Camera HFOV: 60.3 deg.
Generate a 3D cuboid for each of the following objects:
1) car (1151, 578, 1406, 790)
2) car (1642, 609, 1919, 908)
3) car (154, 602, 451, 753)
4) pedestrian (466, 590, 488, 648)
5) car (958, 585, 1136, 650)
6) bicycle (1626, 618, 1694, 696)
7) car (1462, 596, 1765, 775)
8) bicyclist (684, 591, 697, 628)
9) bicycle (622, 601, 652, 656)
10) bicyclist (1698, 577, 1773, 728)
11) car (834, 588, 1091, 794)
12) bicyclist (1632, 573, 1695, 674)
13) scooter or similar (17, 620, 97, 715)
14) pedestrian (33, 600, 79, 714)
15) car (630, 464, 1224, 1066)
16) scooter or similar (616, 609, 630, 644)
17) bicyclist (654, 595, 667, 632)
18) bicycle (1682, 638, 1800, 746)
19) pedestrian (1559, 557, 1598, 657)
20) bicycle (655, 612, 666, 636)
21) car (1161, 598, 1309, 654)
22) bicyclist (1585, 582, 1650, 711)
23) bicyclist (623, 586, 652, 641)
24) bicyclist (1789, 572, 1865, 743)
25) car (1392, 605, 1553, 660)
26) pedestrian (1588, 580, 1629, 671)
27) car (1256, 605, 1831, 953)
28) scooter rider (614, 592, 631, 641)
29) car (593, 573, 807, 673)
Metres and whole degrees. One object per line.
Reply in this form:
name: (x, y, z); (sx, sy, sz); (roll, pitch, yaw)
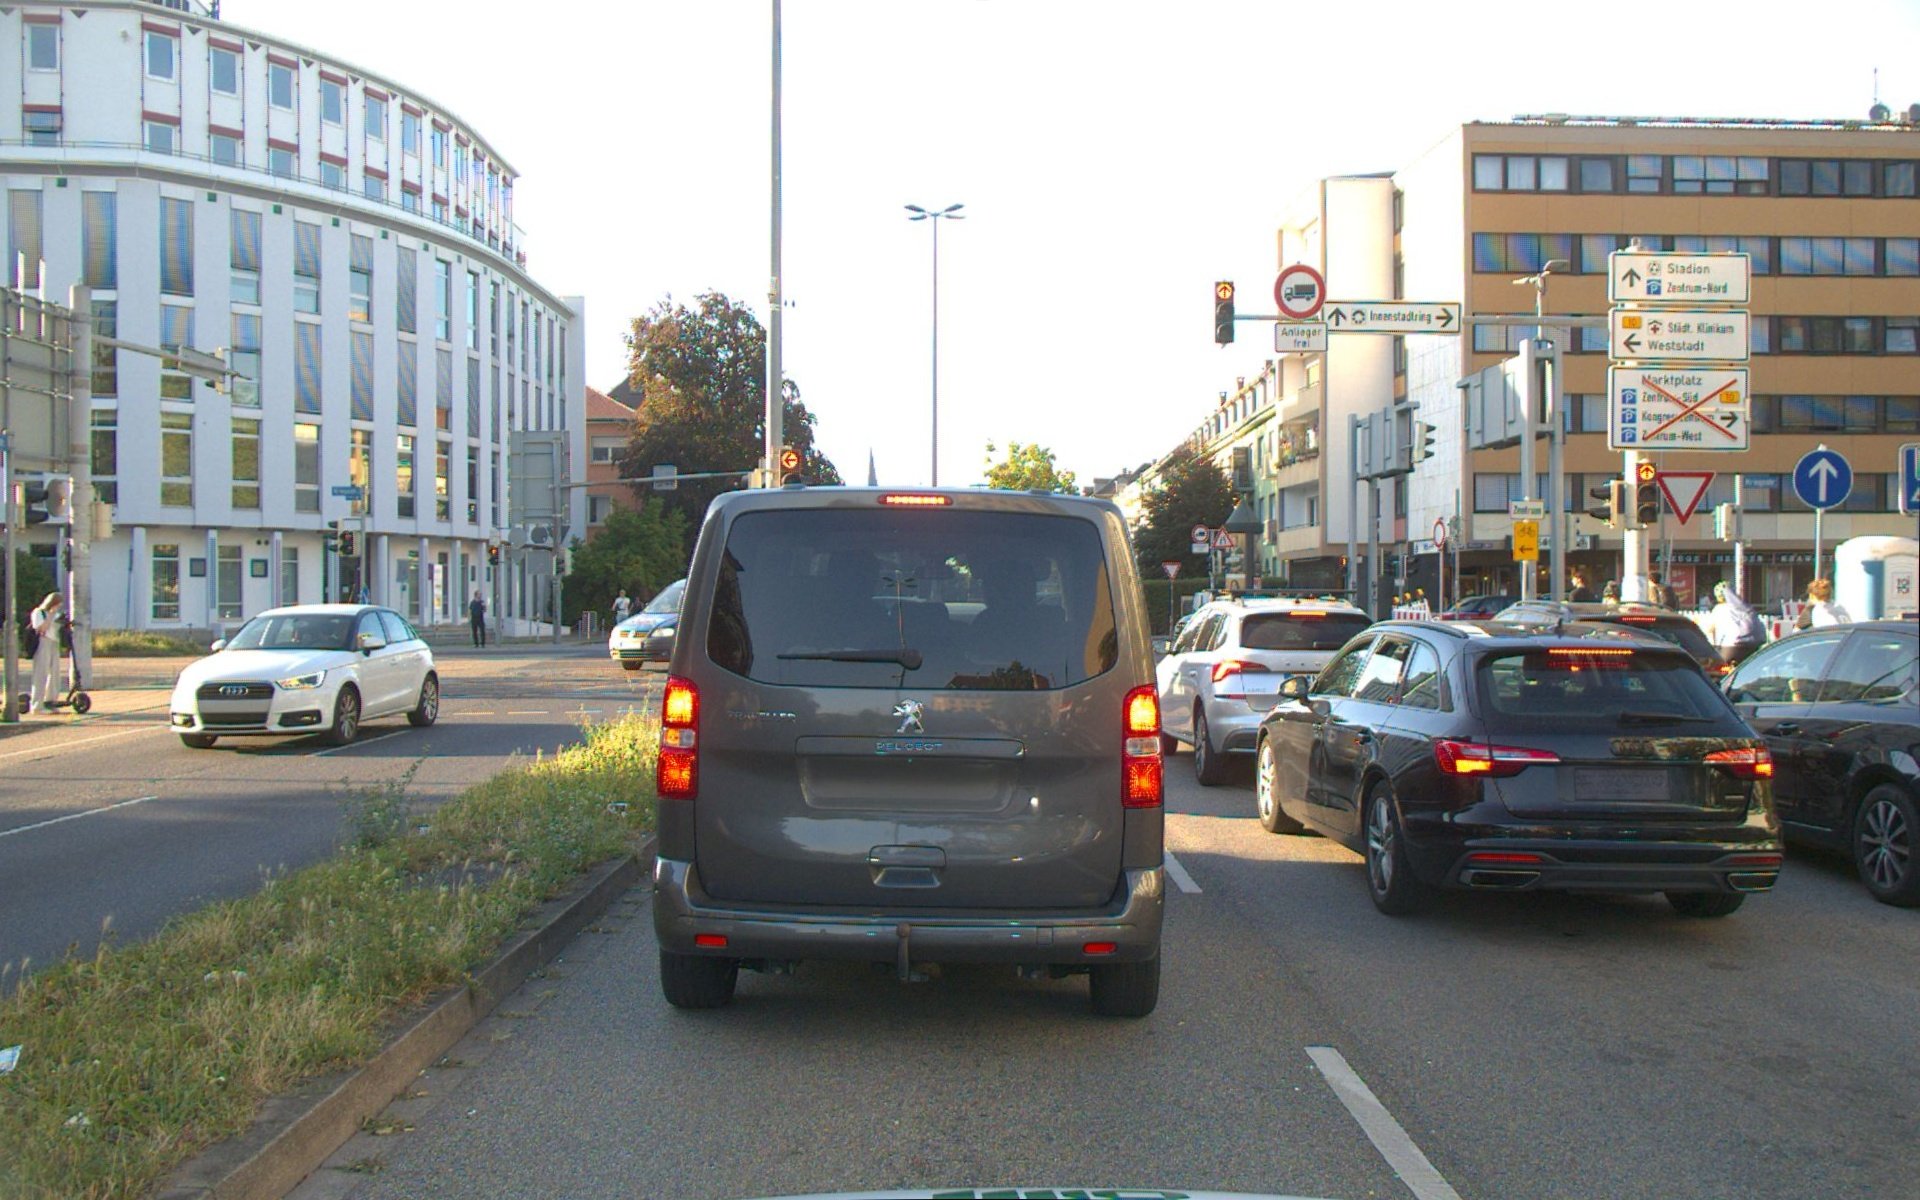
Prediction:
car: (2.725, 0.656, 14.906); (1.498, 1.641, 3.744); (1, 0, -1)
car: (5.618, 0.821, 9.735); (1.600, 1.474, 3.744); (1, 0, -1)
car: (-7.013, 0.762, 18.053); (1.656, 1.412, 3.687); (-1, 0, 2)
pedestrian: (-14.803, 0.578, 50.676); (0.615, 1.752, 0.669); (0, 0, -15)
car: (2.123, 0.389, 39.658); (4.196, 1.467, 1.681); (-1, 0, -37)
bicycle: (11.483, 0.920, 27.163); (0.365, 1.181, 1.498); (1, 1, -4)
car: (5.937, 0.709, 15.409); (1.474, 1.474, 3.304); (0, 0, -1)
bicyclist: (-11.563, 0.413, 70.973); (0.467, 1.582, 0.509); (0, 0, -1)
bicycle: (-12.359, 1.077, 63.317); (0.700, 2.049, 2.563); (0, 0, -1)
bicyclist: (8.140, 0.540, 17.385); (0.432, 1.552, 0.725); (0, 0, -1)
car: (-0.012, 0.687, 14.612); (1.953, 1.557, 3.999); (0, 0, -1)
bicyclist: (11.497, 0.371, 27.044); (0.606, 1.616, 0.813); (1, 1, -5)
scooter or similar: (-12.179, 0.905, 22.323); (0.877, 1.255, 0.370); (0, 0, -12)
pedestrian: (-12.226, 0.763, 22.382); (0.466, 1.532, 0.334); (0, 0, -13)
car: (-0.134, 0.525, 7.563); (1.868, 1.896, 4.525); (1, 0, -1)
scooter or similar: (-11.855, 0.938, 58.225); (0.279, 1.209, 1.169); (0, 0, -1)
bicyclist: (-12.590, 0.566, 69.593); (0.453, 1.548, 0.469); (0, 0, -1)
bicycle: (8.136, 0.932, 17.302); (0.329, 1.025, 1.855); (0, 0, -1)
pedestrian: (11.660, 0.128, 31.181); (0.558, 1.866, 0.487); (0, 0, 1)
bicycle: (-12.586, 0.999, 69.536); (0.285, 0.965, 1.072); (0, 0, -1)
car: (8.178, 0.779, 49.436); (4.039, 1.622, 1.793); (0, -1, -6)
bicyclist: (8.069, 0.562, 20.319); (0.503, 1.552, 0.725); (0, 0, -1)
bicyclist: (-12.337, 0.515, 63.315); (0.816, 2.049, 1.064); (1, -1, 1)
bicyclist: (7.978, 0.519, 15.224); (0.432, 1.552, 0.482); (0, 0, -1)
car: (14.078, 0.870, 45.517); (3.911, 1.443, 1.679); (0, 0, -7)
pedestrian: (12.301, 0.484, 31.371); (0.589, 1.700, 0.454); (0, 0, 1)
car: (2.892, 0.778, 9.227); (1.647, 1.446, 4.213); (1, 0, -1)
scooter rider: (-11.848, 0.578, 58.135); (0.471, 1.727, 0.636); (0, 0, -1)
car: (-5.080, 0.420, 32.834); (1.957, 1.849, 4.220); (0, 0, 31)
